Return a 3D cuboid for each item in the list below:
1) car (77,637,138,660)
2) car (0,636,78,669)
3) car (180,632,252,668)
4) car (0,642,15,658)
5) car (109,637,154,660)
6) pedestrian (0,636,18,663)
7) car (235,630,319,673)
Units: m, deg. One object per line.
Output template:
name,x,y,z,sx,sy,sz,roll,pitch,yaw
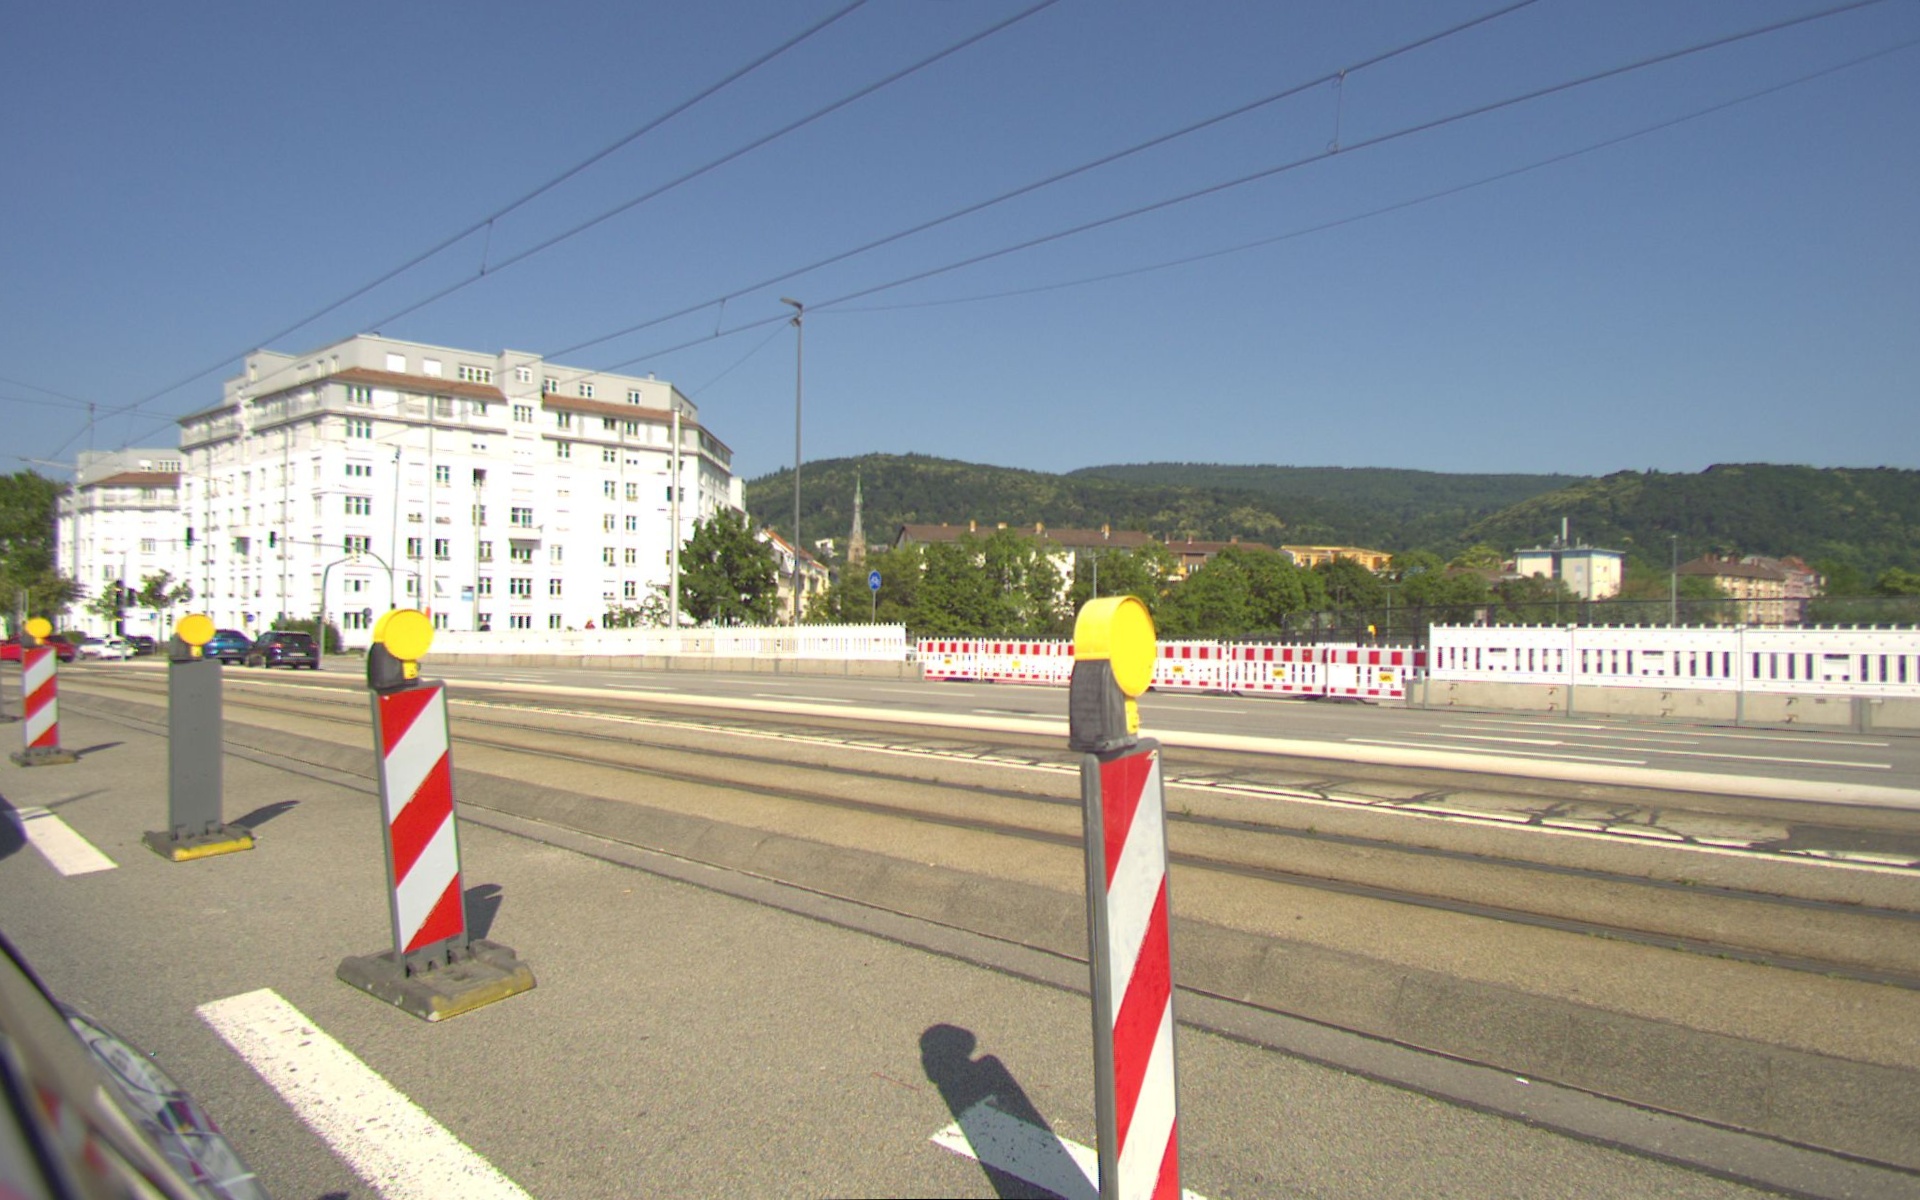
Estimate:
car,-57.056,3.226,67.716,4.468,1.423,1.685,-1,-3,30
car,-46.976,2.646,50.962,3.929,1.448,1.537,-3,0,5
car,-33.795,2.249,45.937,4.553,1.562,1.652,-2,-3,41
car,-91.916,4.746,96.675,3.732,1.496,1.719,-2,-2,36
car,-61.960,3.640,75.640,3.732,1.650,1.719,-2,-2,36
pedestrian,-60.751,3.135,64.407,0.820,1.719,0.992,-1,-1,33
car,-25.504,1.911,37.743,4.174,1.512,1.490,-2,-4,40
